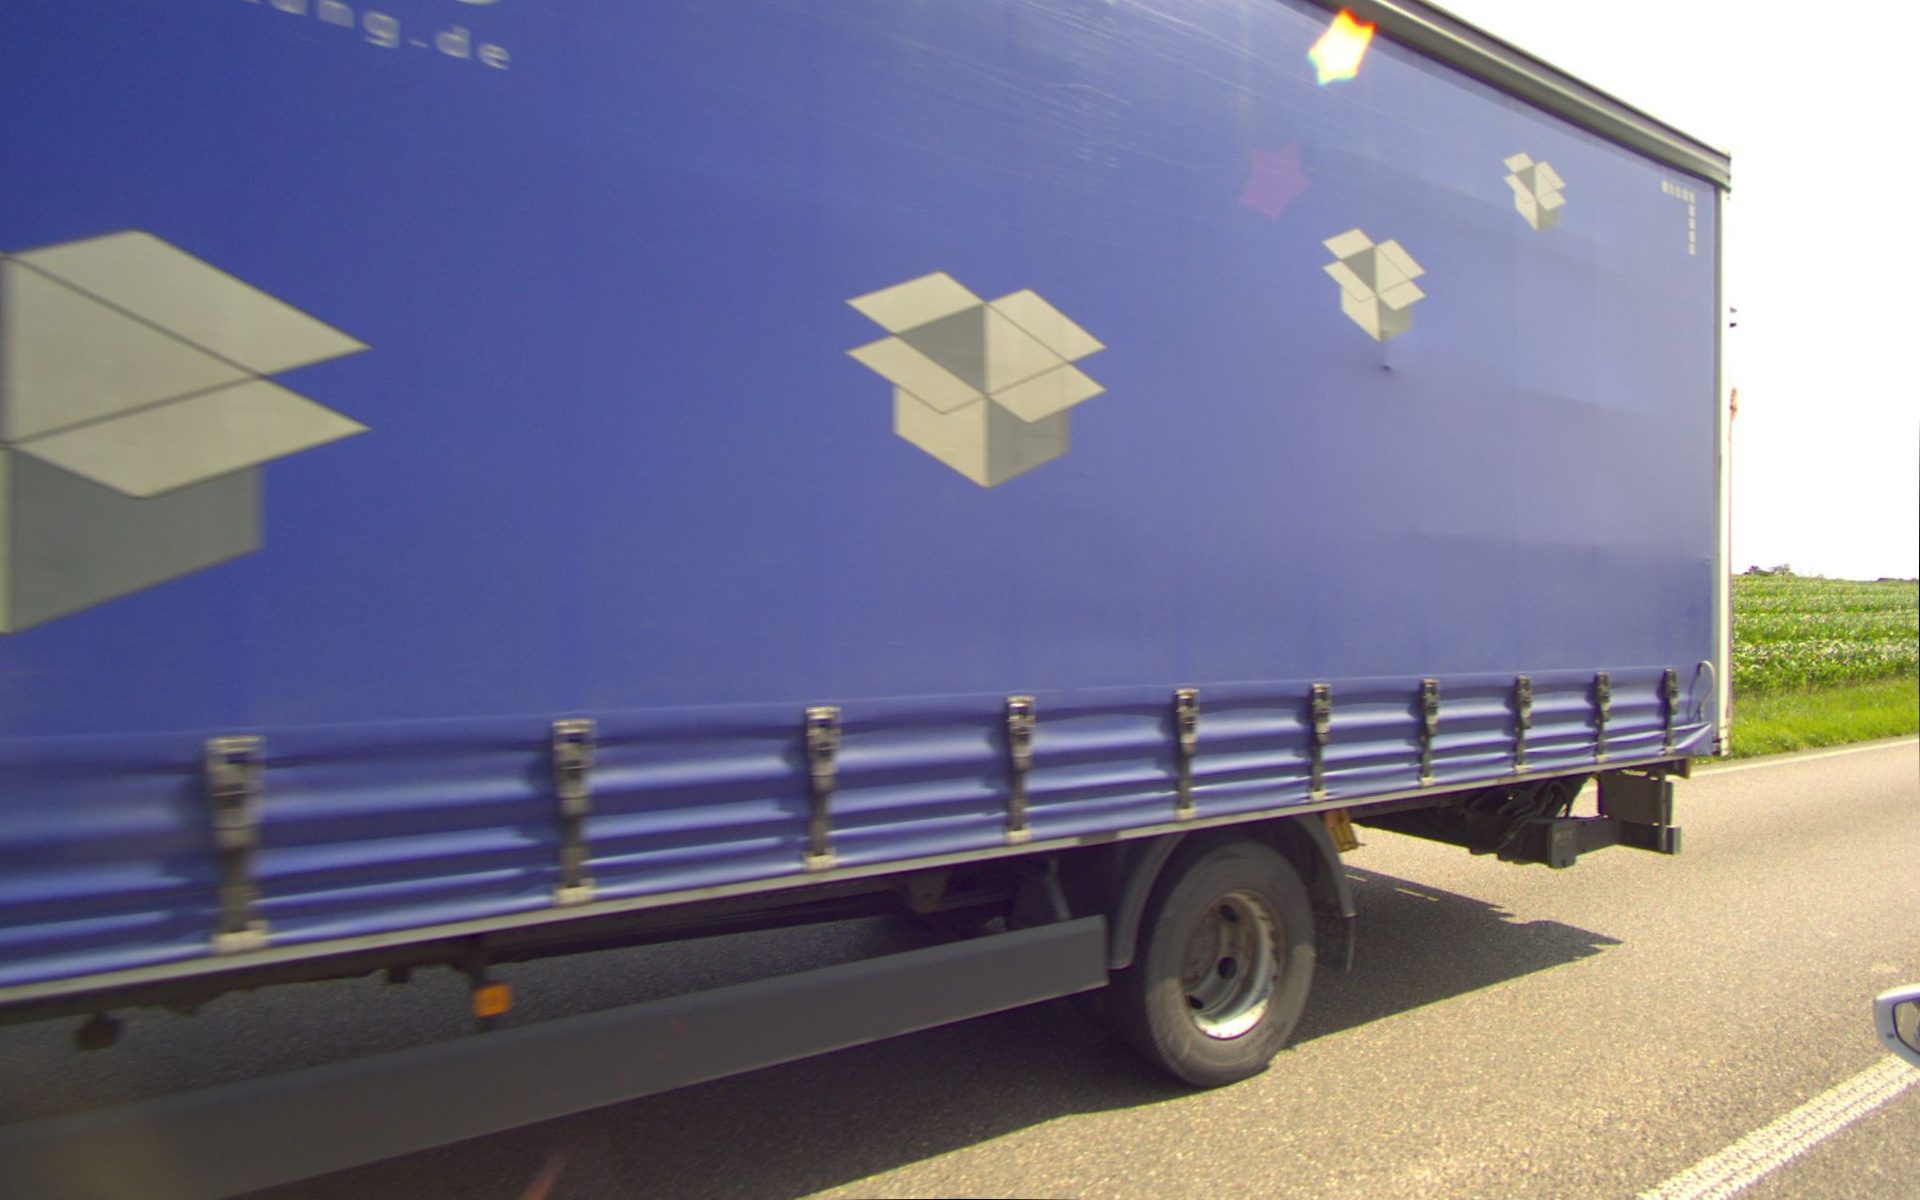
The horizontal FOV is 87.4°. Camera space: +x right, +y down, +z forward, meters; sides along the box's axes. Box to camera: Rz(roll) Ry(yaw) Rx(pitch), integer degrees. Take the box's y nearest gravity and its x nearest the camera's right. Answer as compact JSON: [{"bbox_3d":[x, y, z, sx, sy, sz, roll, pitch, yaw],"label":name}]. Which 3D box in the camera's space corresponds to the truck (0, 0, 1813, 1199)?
[{"bbox_3d":[-0.703,-0.270,3.593,9.613,3.626,2.728,1,0,-31],"label":"truck"}]
